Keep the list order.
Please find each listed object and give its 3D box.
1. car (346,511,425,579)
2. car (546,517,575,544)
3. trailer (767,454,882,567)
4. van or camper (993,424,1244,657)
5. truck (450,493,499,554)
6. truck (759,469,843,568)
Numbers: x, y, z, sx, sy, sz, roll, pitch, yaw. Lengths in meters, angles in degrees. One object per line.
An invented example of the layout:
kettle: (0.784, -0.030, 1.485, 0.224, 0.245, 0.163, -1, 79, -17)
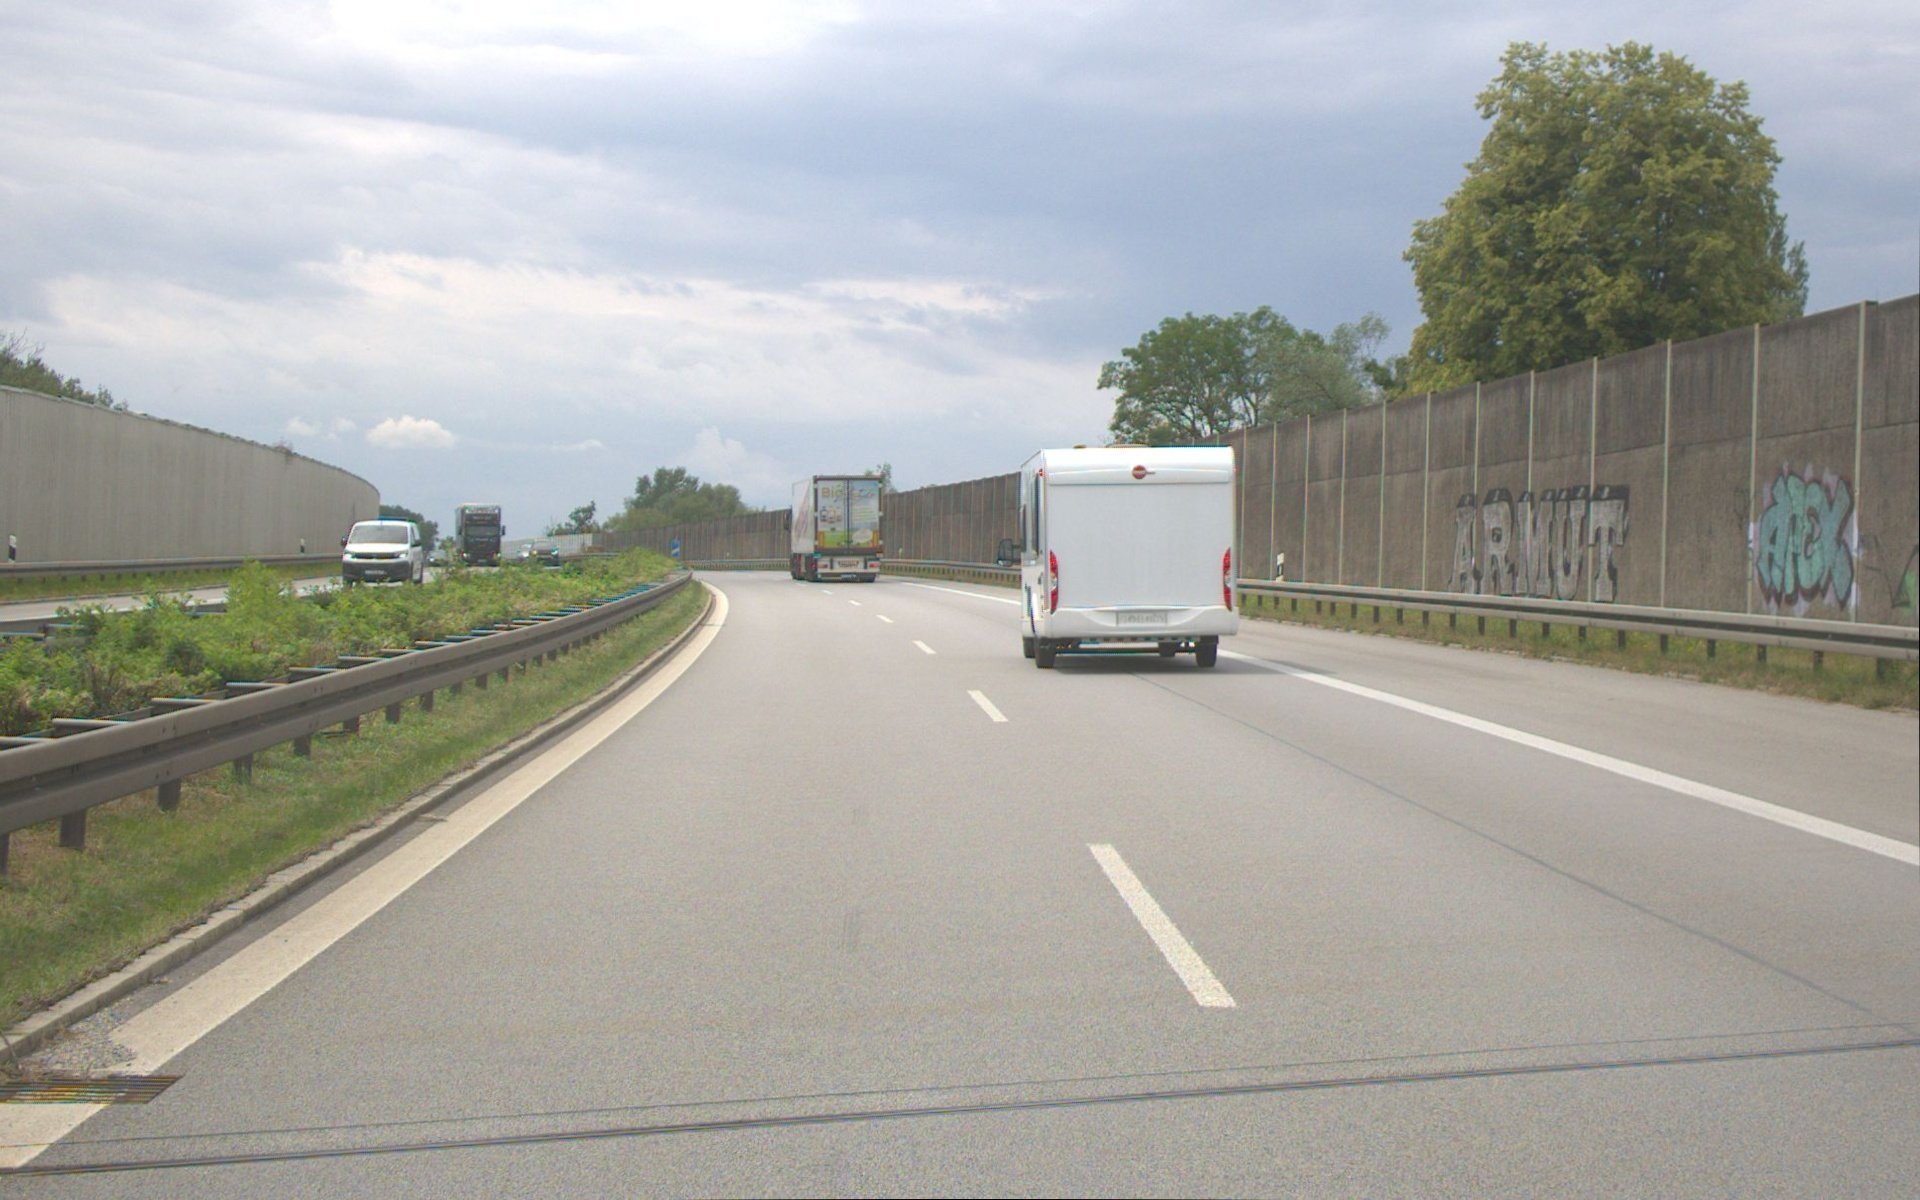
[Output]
car: (-15.142, -1.457, 90.783, 1.741, 1.738, 4.628, -1, 1, -6)
car: (-24.940, -4.344, 214.491, 1.715, 1.636, 4.706, 0, 1, -8)
trailer: (-5.427, -3.406, 134.940, 2.792, 4.160, 14.107, 0, 0, -9)
van or camper: (1.877, -0.762, 43.481, 2.429, 2.687, 7.226, 0, 1, -3)
truck: (-31.631, -4.960, 224.030, 2.873, 3.845, 6.076, -1, 1, -6)
truck: (-6.572, -3.323, 141.618, 2.755, 3.946, 5.678, 0, 0, -10)
